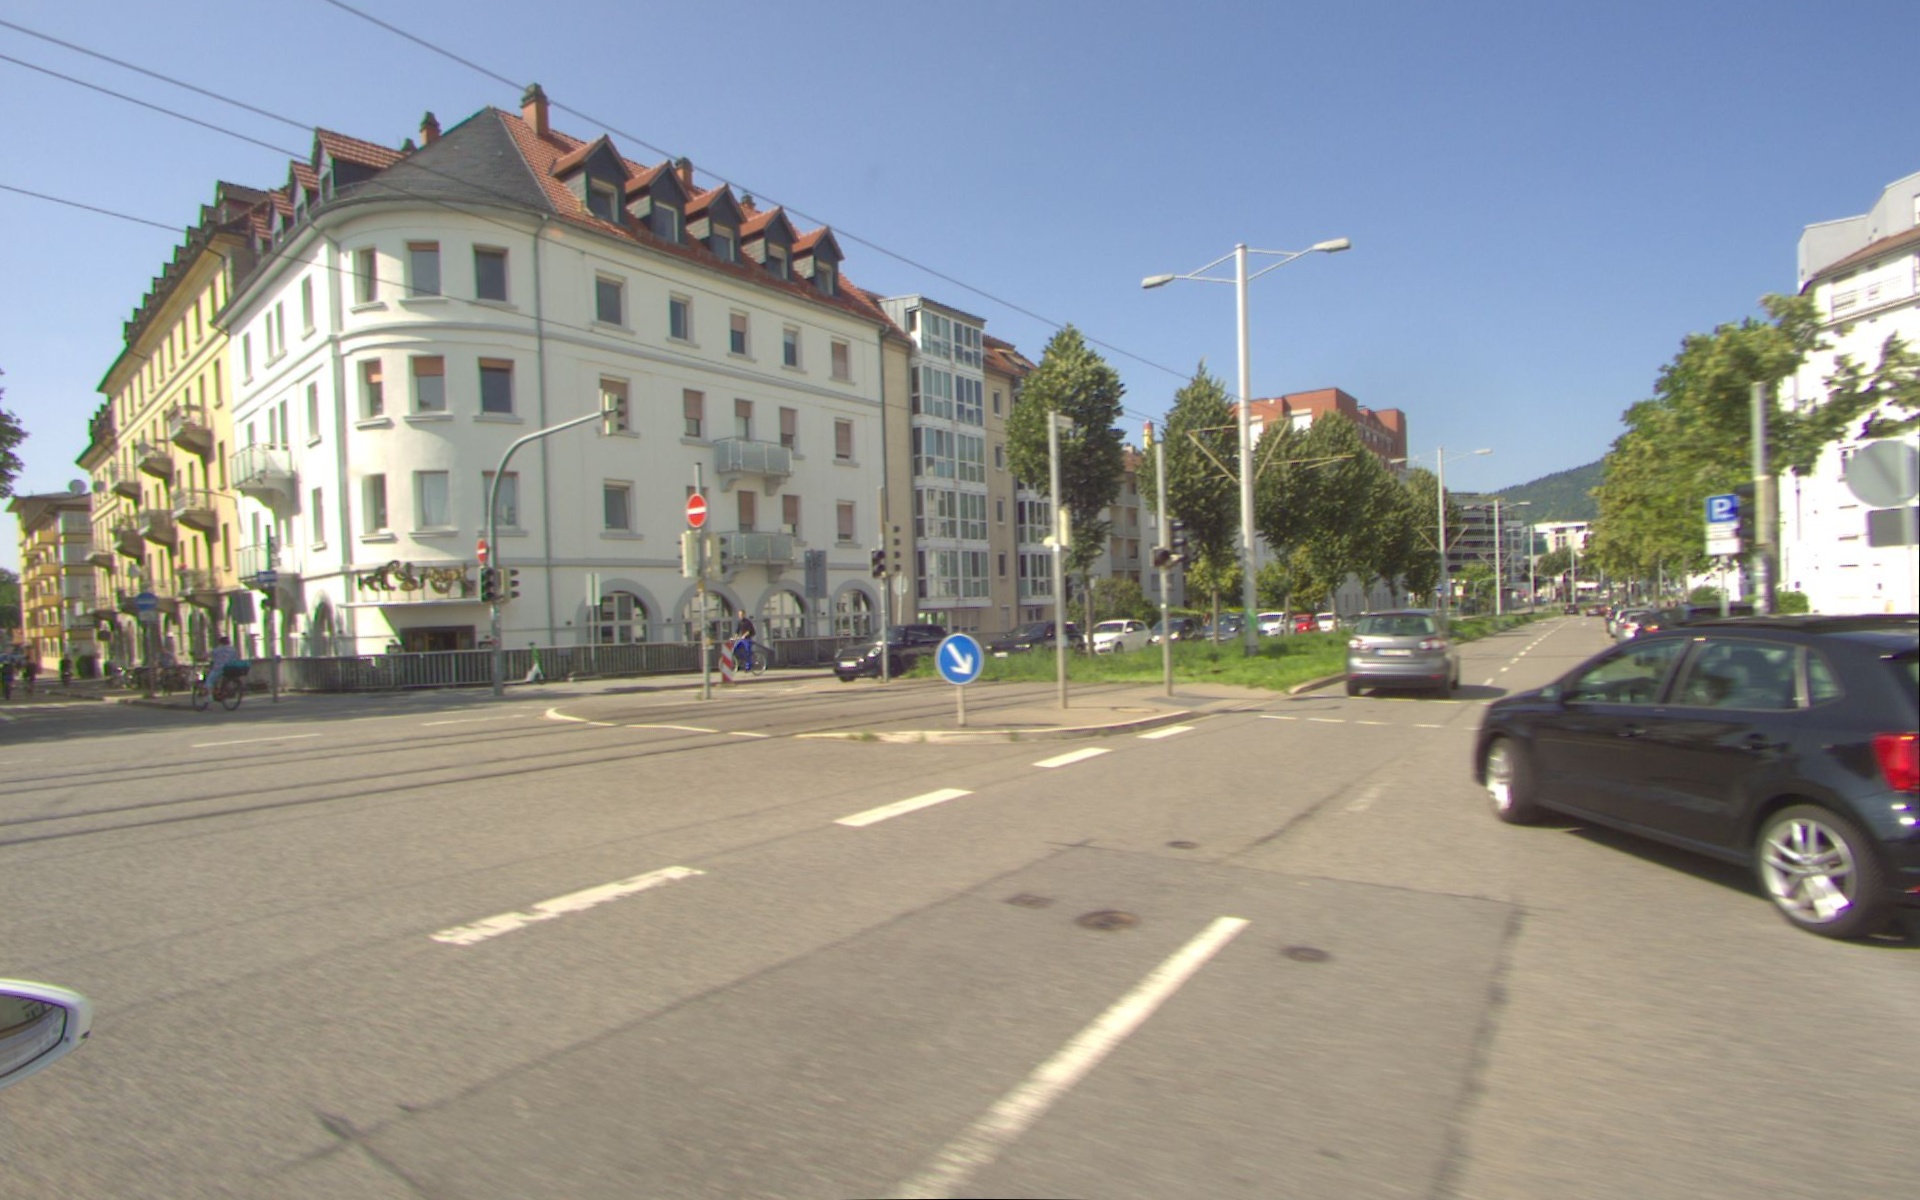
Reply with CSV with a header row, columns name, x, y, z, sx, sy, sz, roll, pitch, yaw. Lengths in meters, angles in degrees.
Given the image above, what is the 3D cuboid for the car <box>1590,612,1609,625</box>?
name,x,y,z,sx,sy,sz,roll,pitch,yaw
car,76.792,2.171,120.248,1.775,1.503,3.717,-2,-2,35

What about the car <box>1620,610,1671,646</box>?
name,x,y,z,sx,sy,sz,roll,pitch,yaw
car,30.142,1.202,44.121,1.716,1.503,3.720,-2,-2,33

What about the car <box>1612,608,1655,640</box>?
name,x,y,z,sx,sy,sz,roll,pitch,yaw
car,34.099,1.211,50.746,1.716,1.503,3.720,-2,-2,33

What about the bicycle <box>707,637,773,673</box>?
name,x,y,z,sx,sy,sz,roll,pitch,yaw
bicycle,-6.675,1.655,30.380,1.879,1.034,0.820,0,0,-19

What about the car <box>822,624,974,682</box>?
name,x,y,z,sx,sy,sz,roll,pitch,yaw
car,-1.537,1.355,26.189,1.747,1.338,3.971,-3,-2,39

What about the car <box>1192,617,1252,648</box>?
name,x,y,z,sx,sy,sz,roll,pitch,yaw
car,12.828,1.564,48.860,1.743,1.371,3.980,-3,-2,32

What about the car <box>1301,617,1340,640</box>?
name,x,y,z,sx,sy,sz,roll,pitch,yaw
car,23.632,1.847,65.534,1.742,1.371,3.982,-3,-2,30

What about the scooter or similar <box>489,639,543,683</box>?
name,x,y,z,sx,sy,sz,roll,pitch,yaw
scooter or similar,-11.957,1.646,26.994,1.287,1.132,0.337,0,-1,-34

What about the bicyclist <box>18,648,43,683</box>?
name,x,y,z,sx,sy,sz,roll,pitch,yaw
bicyclist,-42.538,2.983,45.842,0.832,1.557,1.014,0,-2,-43

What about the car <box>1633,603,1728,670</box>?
name,x,y,z,sx,sy,sz,roll,pitch,yaw
car,19.156,0.954,26.770,1.715,1.658,3.722,-2,-2,31

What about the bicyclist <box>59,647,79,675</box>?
name,x,y,z,sx,sy,sz,roll,pitch,yaw
bicyclist,-51.089,3.494,57.430,0.832,1.557,1.014,0,-2,-43

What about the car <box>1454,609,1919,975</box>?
name,x,y,z,sx,sy,sz,roll,pitch,yaw
car,4.651,0.812,5.857,1.563,1.512,3.662,0,-1,-3

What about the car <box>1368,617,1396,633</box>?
name,x,y,z,sx,sy,sz,roll,pitch,yaw
car,37.062,2.181,87.912,1.742,1.371,3.982,-3,-2,30

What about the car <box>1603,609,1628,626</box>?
name,x,y,z,sx,sy,sz,roll,pitch,yaw
car,57.530,1.529,87.929,1.716,1.503,3.720,-2,-2,33

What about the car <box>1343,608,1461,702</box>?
name,x,y,z,sx,sy,sz,roll,pitch,yaw
car,8.307,0.940,18.663,1.671,1.576,3.640,-1,-1,29

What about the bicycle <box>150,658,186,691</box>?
name,x,y,z,sx,sy,sz,roll,pitch,yaw
bicycle,-27.333,2.554,34.546,1.801,1.004,0.703,-1,2,44

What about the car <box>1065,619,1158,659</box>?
name,x,y,z,sx,sy,sz,roll,pitch,yaw
car,5.637,1.429,37.008,1.746,1.371,3.975,-3,-2,36

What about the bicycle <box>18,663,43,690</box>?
name,x,y,z,sx,sy,sz,roll,pitch,yaw
bicycle,-42.453,3.470,45.757,0.831,1.151,2.833,0,-2,-43

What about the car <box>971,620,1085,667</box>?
name,x,y,z,sx,sy,sz,roll,pitch,yaw
car,2.247,1.358,32.101,1.746,1.371,3.973,-3,-2,37

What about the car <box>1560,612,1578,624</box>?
name,x,y,z,sx,sy,sz,roll,pitch,yaw
car,80.155,2.336,131.744,1.775,1.503,3.717,-2,-2,35

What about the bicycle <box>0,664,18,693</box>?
name,x,y,z,sx,sy,sz,roll,pitch,yaw
bicycle,-41.173,3.371,43.125,0.831,1.151,2.833,0,-2,-43

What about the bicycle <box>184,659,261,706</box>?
name,x,y,z,sx,sy,sz,roll,pitch,yaw
bicycle,-17.124,1.892,23.226,2.218,1.002,0.862,-3,-2,37

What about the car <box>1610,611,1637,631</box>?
name,x,y,z,sx,sy,sz,roll,pitch,yaw
car,53.668,1.707,81.053,1.716,1.503,3.720,-2,-2,33

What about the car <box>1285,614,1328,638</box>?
name,x,y,z,sx,sy,sz,roll,pitch,yaw
car,21.089,1.582,60.837,1.742,1.371,3.982,-3,-2,30

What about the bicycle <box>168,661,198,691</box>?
name,x,y,z,sx,sy,sz,roll,pitch,yaw
bicycle,-30.719,2.974,39.558,0.676,1.089,2.270,-1,-1,-44

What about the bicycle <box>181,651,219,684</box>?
name,x,y,z,sx,sy,sz,roll,pitch,yaw
bicycle,-28.062,2.486,36.966,0.832,1.151,2.833,0,-2,-43

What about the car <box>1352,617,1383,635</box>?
name,x,y,z,sx,sy,sz,roll,pitch,yaw
car,31.845,2.014,78.202,1.742,1.371,3.982,-3,-2,30

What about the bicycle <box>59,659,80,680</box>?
name,x,y,z,sx,sy,sz,roll,pitch,yaw
bicycle,-51.111,3.952,57.464,0.831,1.151,2.833,0,-2,-43

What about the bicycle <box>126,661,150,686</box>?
name,x,y,z,sx,sy,sz,roll,pitch,yaw
bicycle,-38.427,3.428,46.781,0.676,1.089,2.270,-1,-1,-44

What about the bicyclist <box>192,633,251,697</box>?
name,x,y,z,sx,sy,sz,roll,pitch,yaw
bicyclist,-17.079,1.489,23.164,0.905,1.433,0.862,-2,-1,37

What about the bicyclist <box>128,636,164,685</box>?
name,x,y,z,sx,sy,sz,roll,pitch,yaw
bicyclist,-26.106,1.927,32.112,0.832,1.527,0.944,0,-2,-43

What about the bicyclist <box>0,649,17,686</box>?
name,x,y,z,sx,sy,sz,roll,pitch,yaw
bicyclist,-41.158,2.905,43.096,0.832,1.557,1.014,0,-2,-43

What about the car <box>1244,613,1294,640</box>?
name,x,y,z,sx,sy,sz,roll,pitch,yaw
car,16.832,1.422,54.525,1.742,1.371,3.982,-3,-2,30

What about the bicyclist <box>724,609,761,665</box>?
name,x,y,z,sx,sy,sz,roll,pitch,yaw
bicyclist,-6.603,1.113,30.398,0.992,1.675,0.807,1,0,-19

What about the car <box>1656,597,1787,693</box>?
name,x,y,z,sx,sy,sz,roll,pitch,yaw
car,14.653,0.832,19.444,1.716,1.658,3.720,-2,-2,33

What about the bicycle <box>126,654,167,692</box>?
name,x,y,z,sx,sy,sz,roll,pitch,yaw
bicycle,-26.165,2.337,32.176,0.832,1.151,2.833,0,-2,-43

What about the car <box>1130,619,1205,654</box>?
name,x,y,z,sx,sy,sz,roll,pitch,yaw
car,8.895,1.518,42.667,1.744,1.371,3.977,-3,-2,34

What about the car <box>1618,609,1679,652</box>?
name,x,y,z,sx,sy,sz,roll,pitch,yaw
car,25.700,1.125,37.462,1.716,1.503,3.720,-2,-2,33

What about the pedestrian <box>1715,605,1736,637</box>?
name,x,y,z,sx,sy,sz,roll,pitch,yaw
pedestrian,41.487,1.138,54.266,0.848,1.687,0.903,-1,0,38

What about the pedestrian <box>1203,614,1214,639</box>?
name,x,y,z,sx,sy,sz,roll,pitch,yaw
pedestrian,18.379,1.952,74.072,0.590,1.786,0.748,-1,0,31

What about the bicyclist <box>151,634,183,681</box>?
name,x,y,z,sx,sy,sz,roll,pitch,yaw
bicyclist,-27.381,1.964,34.563,0.776,1.571,0.703,0,2,45
